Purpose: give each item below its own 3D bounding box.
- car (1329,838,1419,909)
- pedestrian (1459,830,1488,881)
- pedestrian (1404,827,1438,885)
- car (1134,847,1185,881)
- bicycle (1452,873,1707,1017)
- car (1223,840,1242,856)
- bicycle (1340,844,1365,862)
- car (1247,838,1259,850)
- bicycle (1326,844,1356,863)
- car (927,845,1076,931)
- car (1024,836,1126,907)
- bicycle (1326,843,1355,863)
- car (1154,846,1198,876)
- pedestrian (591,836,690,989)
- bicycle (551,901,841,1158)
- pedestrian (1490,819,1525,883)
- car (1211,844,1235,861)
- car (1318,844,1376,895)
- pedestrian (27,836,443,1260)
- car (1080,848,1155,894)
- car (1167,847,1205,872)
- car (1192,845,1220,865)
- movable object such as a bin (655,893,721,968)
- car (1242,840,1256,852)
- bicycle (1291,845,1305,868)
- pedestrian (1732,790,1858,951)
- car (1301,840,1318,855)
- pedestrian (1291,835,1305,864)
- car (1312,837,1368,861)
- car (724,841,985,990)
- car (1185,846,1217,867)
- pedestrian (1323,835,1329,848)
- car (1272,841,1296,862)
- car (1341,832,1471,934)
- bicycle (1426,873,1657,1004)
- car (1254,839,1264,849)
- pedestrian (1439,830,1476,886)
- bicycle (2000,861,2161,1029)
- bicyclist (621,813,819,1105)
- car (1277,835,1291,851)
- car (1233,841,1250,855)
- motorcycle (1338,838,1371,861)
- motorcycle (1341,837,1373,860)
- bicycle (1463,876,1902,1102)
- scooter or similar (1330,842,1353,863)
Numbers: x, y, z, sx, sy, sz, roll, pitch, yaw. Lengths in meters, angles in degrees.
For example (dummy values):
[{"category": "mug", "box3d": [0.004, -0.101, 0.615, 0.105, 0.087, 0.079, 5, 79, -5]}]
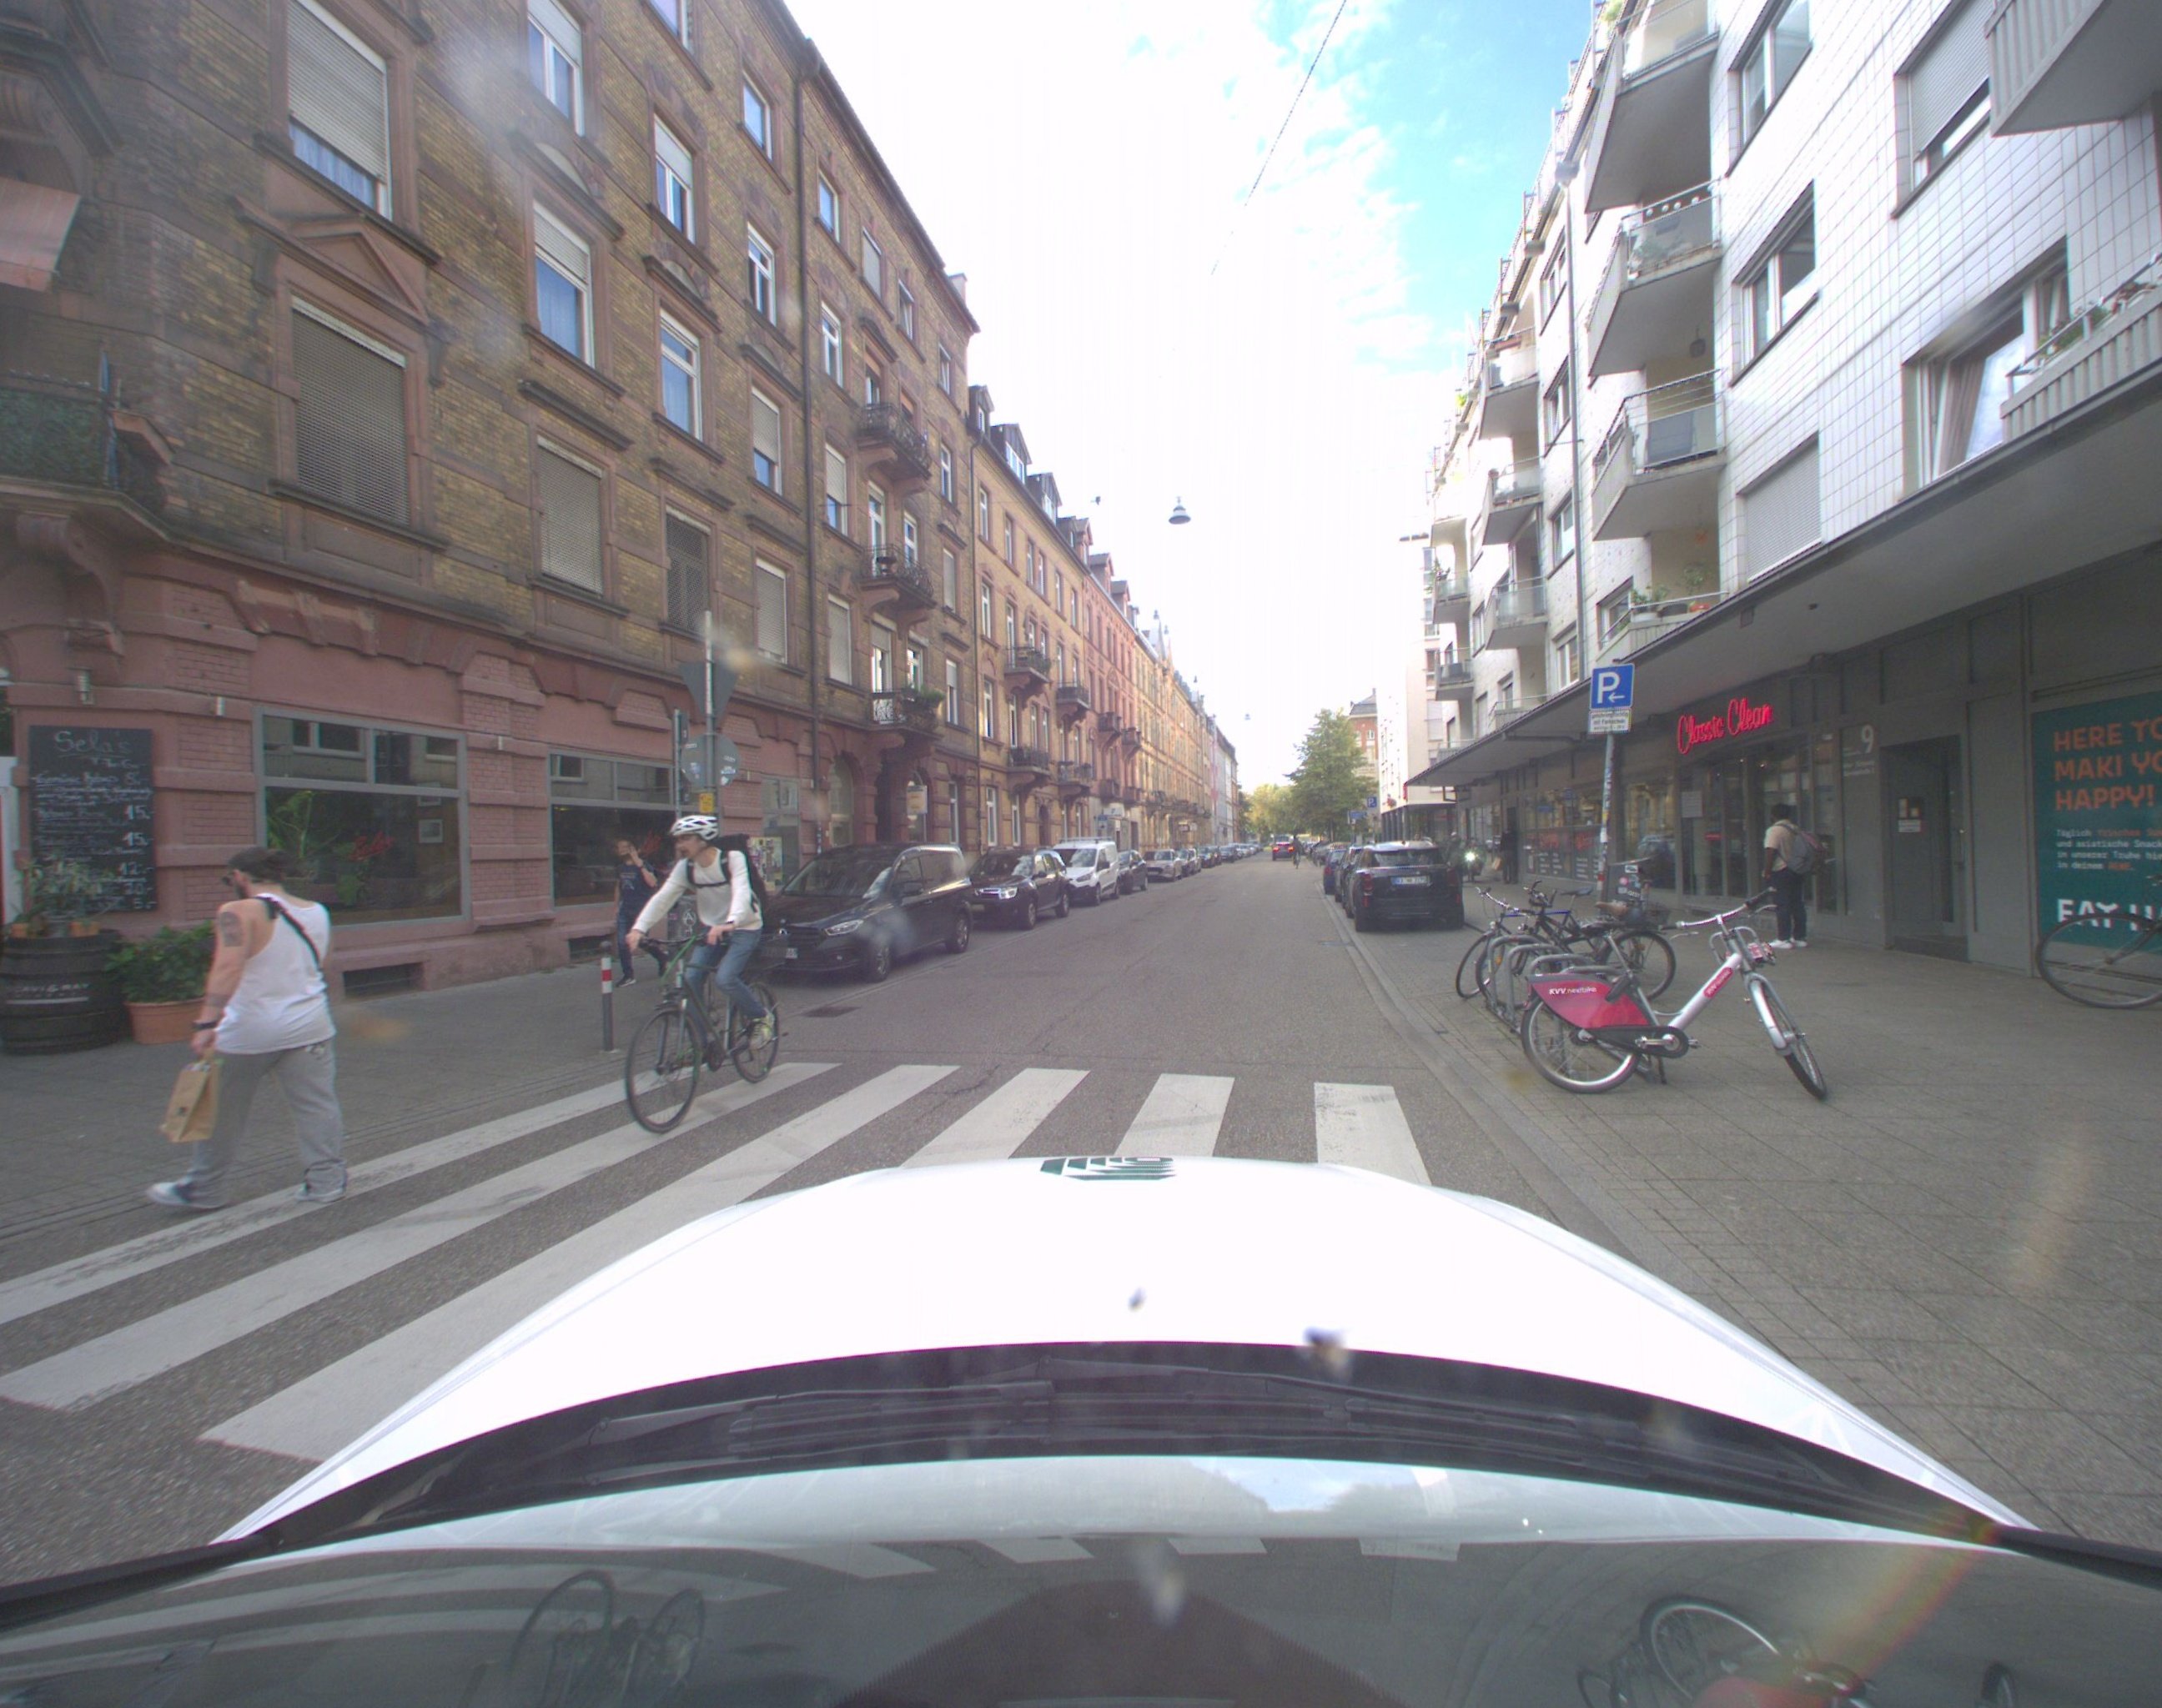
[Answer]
[{"category": "car", "box3d": [7.354, 0.435, 20.752, 1.676, 1.577, 3.917, -3, 0, 13]}, {"category": "pedestrian", "box3d": [12.561, 0.046, 26.065, 0.639, 1.588, 0.784, -4, 0, 16]}, {"category": "pedestrian", "box3d": [10.607, 0.063, 25.414, 0.608, 1.726, 1.129, -4, 0, 9]}, {"category": "car", "box3d": [3.698, 0.432, 37.977, 1.729, 1.483, 3.999, 0, 1, 15]}, {"category": "bicycle", "box3d": [4.265, 0.767, 7.055, 1.779, 1.070, 0.570, -4, 1, 4]}, {"category": "car", "box3d": [15.568, -0.600, 83.417, 1.678, 1.550, 3.882, -1, 1, 14]}, {"category": "bicycle", "box3d": [19.556, -0.072, 58.731, 1.651, 1.159, 0.559, -4, 0, 16]}, {"category": "car", "box3d": [26.587, -1.500, 125.761, 1.678, 1.821, 3.882, 0, 1, 14]}, {"category": "bicycle", "box3d": [16.879, -0.024, 52.869, 1.751, 1.099, 0.413, -4, 0, 17]}, {"category": "car", "box3d": [-1.594, 0.636, 17.925, 1.979, 1.638, 4.161, 0, 1, 13]}, {"category": "car", "box3d": [-0.054, 0.427, 23.990, 1.906, 1.871, 4.454, -1, 1, 14]}, {"category": "bicycle", "box3d": [17.339, -0.060, 54.491, 1.780, 1.159, 0.502, -4, 0, 17]}, {"category": "car", "box3d": [5.046, 0.324, 42.920, 1.729, 1.483, 3.999, 0, 1, 15]}, {"category": "pedestrian", "box3d": [-5.521, 0.691, 10.250, 0.671, 1.840, 0.861, 0, 1, 15]}, {"category": "bicycle", "box3d": [-2.297, 0.963, 5.238, 0.697, 1.220, 2.119, -2, -2, 4]}, {"category": "pedestrian", "box3d": [12.577, -0.082, 24.018, 0.701, 1.860, 0.648, -2, 0, 44]}, {"category": "car", "box3d": [12.490, -0.164, 71.378, 1.678, 1.369, 3.883, 2, 1, 15]}, {"category": "car", "box3d": [8.559, 0.436, 26.428, 1.583, 1.439, 4.047, -2, 1, 16]}, {"category": "pedestrian", "box3d": [-3.778, 0.773, 3.761, 1.020, 1.671, 0.801, -2, 0, -13]}, {"category": "car", "box3d": [1.369, 0.537, 28.896, 1.728, 1.483, 4.001, 0, 1, 17]}, {"category": "car", "box3d": [6.143, 0.297, 47.173, 1.678, 1.386, 3.883, 0, 1, 15]}, {"category": "car", "box3d": [9.486, 0.062, 61.464, 1.678, 1.437, 3.883, 0, 1, 15]}, {"category": "movable object such as a bin", "box3d": [-4.048, 0.778, 8.405, 0.380, 0.714, 0.477, -1, 1, 10]}, {"category": "car", "box3d": [22.695, -1.052, 109.738, 1.678, 1.550, 3.882, 0, 1, 14]}, {"category": "bicycle", "box3d": [12.590, 0.130, 47.264, 0.712, 1.274, 1.892, -1, 1, 16]}, {"category": "pedestrian", "box3d": [8.248, 0.185, 9.450, 0.709, 1.746, 0.820, -4, 0, 13]}, {"category": "car", "box3d": [26.715, -0.783, 95.236, 1.916, 1.638, 4.017, -1, 1, 15]}, {"category": "pedestrian", "box3d": [12.618, -0.274, 47.351, 0.712, 1.650, 0.934, -1, 1, 15]}, {"category": "car", "box3d": [19.899, -0.388, 62.719, 3.743, 1.546, 1.733, -4, -1, 4]}, {"category": "car", "box3d": [-3.031, 0.705, 12.029, 1.747, 1.773, 4.422, 0, 1, 14]}, {"category": "car", "box3d": [8.214, 0.133, 55.475, 1.678, 1.386, 3.883, 0, 1, 15]}, {"category": "pedestrian", "box3d": [40.913, -2.054, 136.168, 0.988, 2.230, 0.902, -1, 1, 15]}, {"category": "car", "box3d": [17.922, -0.244, 71.850, 1.950, 1.740, 4.058, -1, 0, 15]}, {"category": "car", "box3d": [6.023, 0.458, 15.527, 1.779, 1.605, 3.940, -4, 0, 15]}, {"category": "bicycle", "box3d": [4.311, 0.782, 7.708, 1.779, 1.070, 0.587, -4, 1, 4]}, {"category": "car", "box3d": [30.675, -1.734, 140.319, 1.678, 1.550, 3.882, 0, 1, 14]}, {"category": "pedestrian", "box3d": [11.037, 0.101, 23.909, 0.817, 1.588, 0.784, -2, 0, 16]}, {"category": "bicycle", "box3d": [7.399, 0.600, 5.447, 0.736, 1.015, 1.790, -4, 0, 14]}, {"category": "bicyclist", "box3d": [-2.302, 0.628, 5.326, 0.697, 1.678, 1.113, -2, -2, 4]}, {"category": "car", "box3d": [26.872, -1.505, 107.641, 1.769, 2.019, 3.903, -1, 1, 14]}, {"category": "car", "box3d": [18.742, -0.725, 95.065, 1.678, 1.550, 3.882, 0, 1, 14]}, {"category": "motorcycle", "box3d": [19.286, -0.333, 57.399, 2.132, 1.434, 0.769, -4, 0, 19]}, {"category": "motorcycle", "box3d": [20.412, -0.415, 60.231, 2.132, 1.530, 0.689, -4, 0, 19]}, {"category": "bicycle", "box3d": [3.464, 0.782, 4.921, 1.869, 1.125, 0.911, -4, 0, 12]}, {"category": "scooter or similar", "box3d": [15.538, -0.073, 48.535, 0.381, 1.147, 1.194, -6, 1, -44]}]
